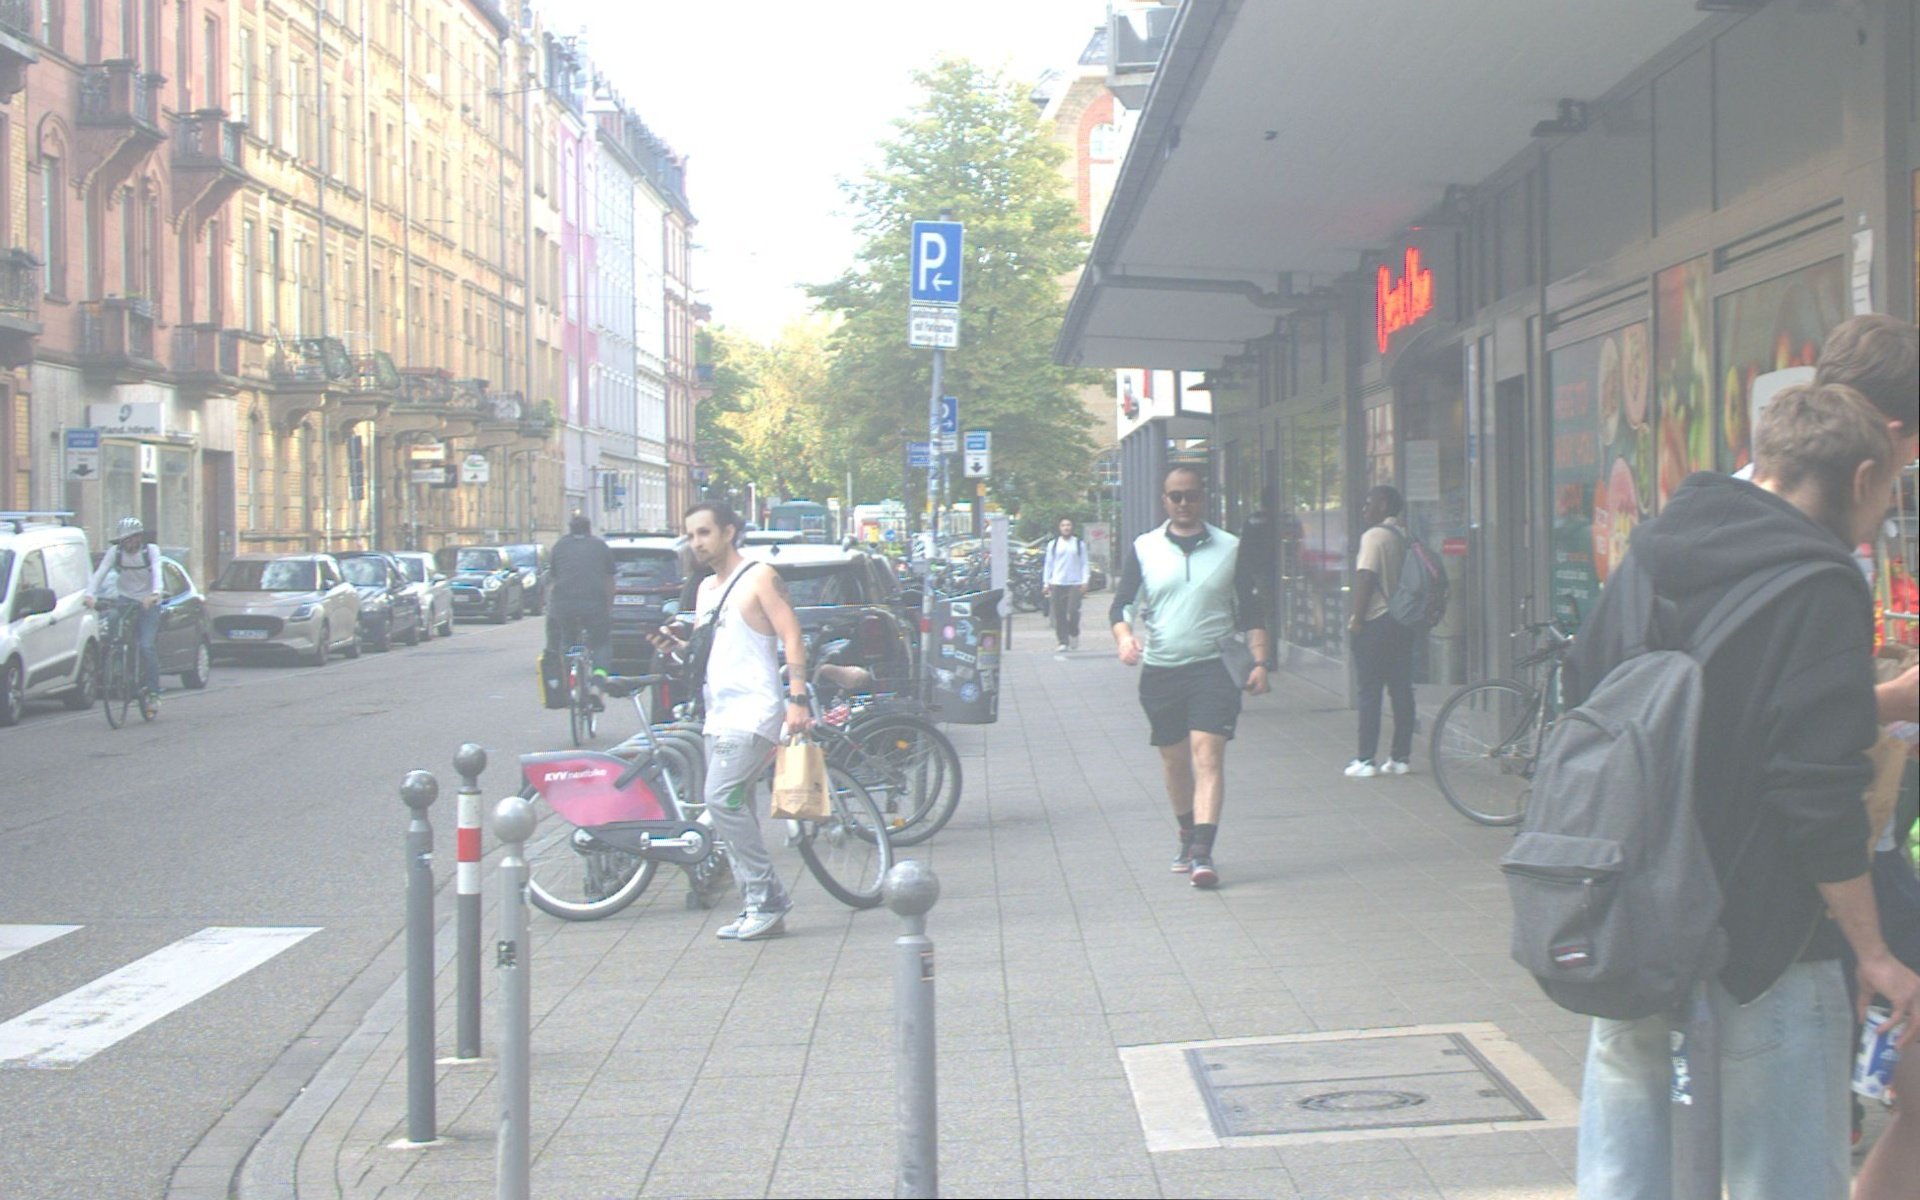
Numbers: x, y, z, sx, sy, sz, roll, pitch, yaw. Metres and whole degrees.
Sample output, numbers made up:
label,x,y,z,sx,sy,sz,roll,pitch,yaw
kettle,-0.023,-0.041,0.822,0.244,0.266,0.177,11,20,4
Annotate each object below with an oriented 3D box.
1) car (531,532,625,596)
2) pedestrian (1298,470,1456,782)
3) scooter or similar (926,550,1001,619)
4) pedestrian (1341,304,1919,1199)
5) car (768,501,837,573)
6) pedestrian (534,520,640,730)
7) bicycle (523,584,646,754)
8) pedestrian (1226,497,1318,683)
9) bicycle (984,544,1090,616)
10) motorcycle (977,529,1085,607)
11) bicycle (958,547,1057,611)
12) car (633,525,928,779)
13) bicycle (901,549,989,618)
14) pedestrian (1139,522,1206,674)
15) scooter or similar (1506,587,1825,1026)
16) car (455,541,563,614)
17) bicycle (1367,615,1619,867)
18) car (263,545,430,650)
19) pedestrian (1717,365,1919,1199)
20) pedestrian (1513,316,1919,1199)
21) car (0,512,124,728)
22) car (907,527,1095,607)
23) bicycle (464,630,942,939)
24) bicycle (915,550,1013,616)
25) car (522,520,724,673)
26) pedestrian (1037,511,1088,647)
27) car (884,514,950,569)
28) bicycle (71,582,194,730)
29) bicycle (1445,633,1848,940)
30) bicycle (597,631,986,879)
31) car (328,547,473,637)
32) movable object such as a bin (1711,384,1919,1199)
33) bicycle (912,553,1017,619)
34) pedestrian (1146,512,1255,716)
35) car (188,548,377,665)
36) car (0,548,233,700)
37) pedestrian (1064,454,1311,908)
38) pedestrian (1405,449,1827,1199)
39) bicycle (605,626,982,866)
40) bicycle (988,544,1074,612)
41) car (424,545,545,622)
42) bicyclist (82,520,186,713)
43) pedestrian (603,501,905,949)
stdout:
label,x,y,z,sx,sy,sz,roll,pitch,yaw
car,-8.954,-0.868,80.818,1.690,1.364,3.867,4,1,0
pedestrian,2.414,0.138,19.967,0.714,1.741,0.817,-3,1,-1
scooter or similar,0.055,-0.266,59.311,1.207,1.143,0.378,-2,3,33
pedestrian,1.066,0.496,4.942,0.632,1.791,0.713,-2,3,42
car,-4.490,-1.823,98.408,1.782,2.013,3.888,1,1,0
pedestrian,-2.985,0.188,27.584,0.718,1.644,0.930,1,1,1
bicycle,-2.988,0.528,27.519,0.718,1.270,1.884,1,1,1
pedestrian,3.156,-0.105,34.748,0.708,1.854,0.643,0,1,30
bicycle,1.346,-0.350,59.593,1.766,1.158,0.650,-3,2,3
motorcycle,1.483,-0.674,71.887,2.151,1.525,0.686,-3,2,5
bicycle,0.909,-0.396,65.990,1.797,1.155,0.499,-2,2,27
car,-1.224,0.308,25.077,1.792,1.600,3.924,-3,1,1
bicycle,-0.278,-0.292,61.398,1.495,1.142,0.411,-3,2,-4
pedestrian,2.281,-0.029,36.961,0.644,1.583,0.780,-2,1,2
scooter or similar,2.131,0.592,10.524,0.632,1.208,1.256,-3,2,-2
car,-9.214,-0.489,70.470,1.690,1.432,3.867,0,1,0
bicycle,2.416,0.614,15.781,0.741,1.011,1.783,-3,1,-3
car,-9.119,-0.072,51.360,1.741,1.478,3.984,0,1,0
pedestrian,1.913,0.472,5.744,0.849,1.741,1.049,-3,1,-10
pedestrian,1.374,0.473,5.362,0.714,1.791,0.631,-2,3,34
car,-9.288,0.117,32.077,1.919,1.865,4.437,0,1,0
car,0.865,-0.703,74.222,3.759,1.541,1.731,-3,0,-9
bicycle,-1.054,0.753,14.430,1.882,1.121,0.907,-3,1,-1
bicycle,0.073,-0.330,65.635,1.794,1.155,0.500,-3,2,4
car,-3.998,-0.071,41.397,1.965,1.735,4.041,0,1,1
pedestrian,1.313,-0.280,44.280,0.612,1.720,1.126,-1,2,2
car,-1.311,-1.845,107.369,1.930,1.632,4.000,1,1,1
bicycle,-7.284,0.474,30.344,0.700,1.216,2.117,0,1,-4
bicycle,2.531,0.656,12.877,0.676,1.039,1.734,-1,0,-19
bicycle,-0.825,0.738,16.681,1.787,1.067,0.569,-3,2,-9
car,-9.013,-0.162,55.675,1.690,1.382,3.867,0,1,0
movable object such as a bin,2.432,0.391,8.151,0.779,1.738,2.423,-1,1,1
bicycle,0.072,-0.247,60.022,1.765,1.053,0.411,-3,2,-4
pedestrian,1.910,0.104,27.403,0.824,1.583,0.780,-1,1,2
car,-9.098,0.052,46.427,1.741,1.478,3.984,0,1,0
car,-9.132,0.216,37.089,1.741,1.478,3.984,1,1,-1
pedestrian,0.985,0.324,14.630,0.884,1.828,1.047,-3,1,8
pedestrian,1.455,0.499,7.733,0.722,1.627,0.712,-3,1,-1
bicycle,-0.843,0.718,17.258,1.787,1.067,0.587,-3,2,-9
bicycle,1.268,-0.398,61.425,1.495,1.142,0.411,-3,2,1
car,-8.874,-0.327,64.398,1.690,1.382,3.867,0,1,0
bicyclist,-7.288,0.128,30.371,0.700,1.672,1.113,0,1,-4
pedestrian,-0.812,0.465,13.362,1.019,1.665,0.804,-1,0,-14
